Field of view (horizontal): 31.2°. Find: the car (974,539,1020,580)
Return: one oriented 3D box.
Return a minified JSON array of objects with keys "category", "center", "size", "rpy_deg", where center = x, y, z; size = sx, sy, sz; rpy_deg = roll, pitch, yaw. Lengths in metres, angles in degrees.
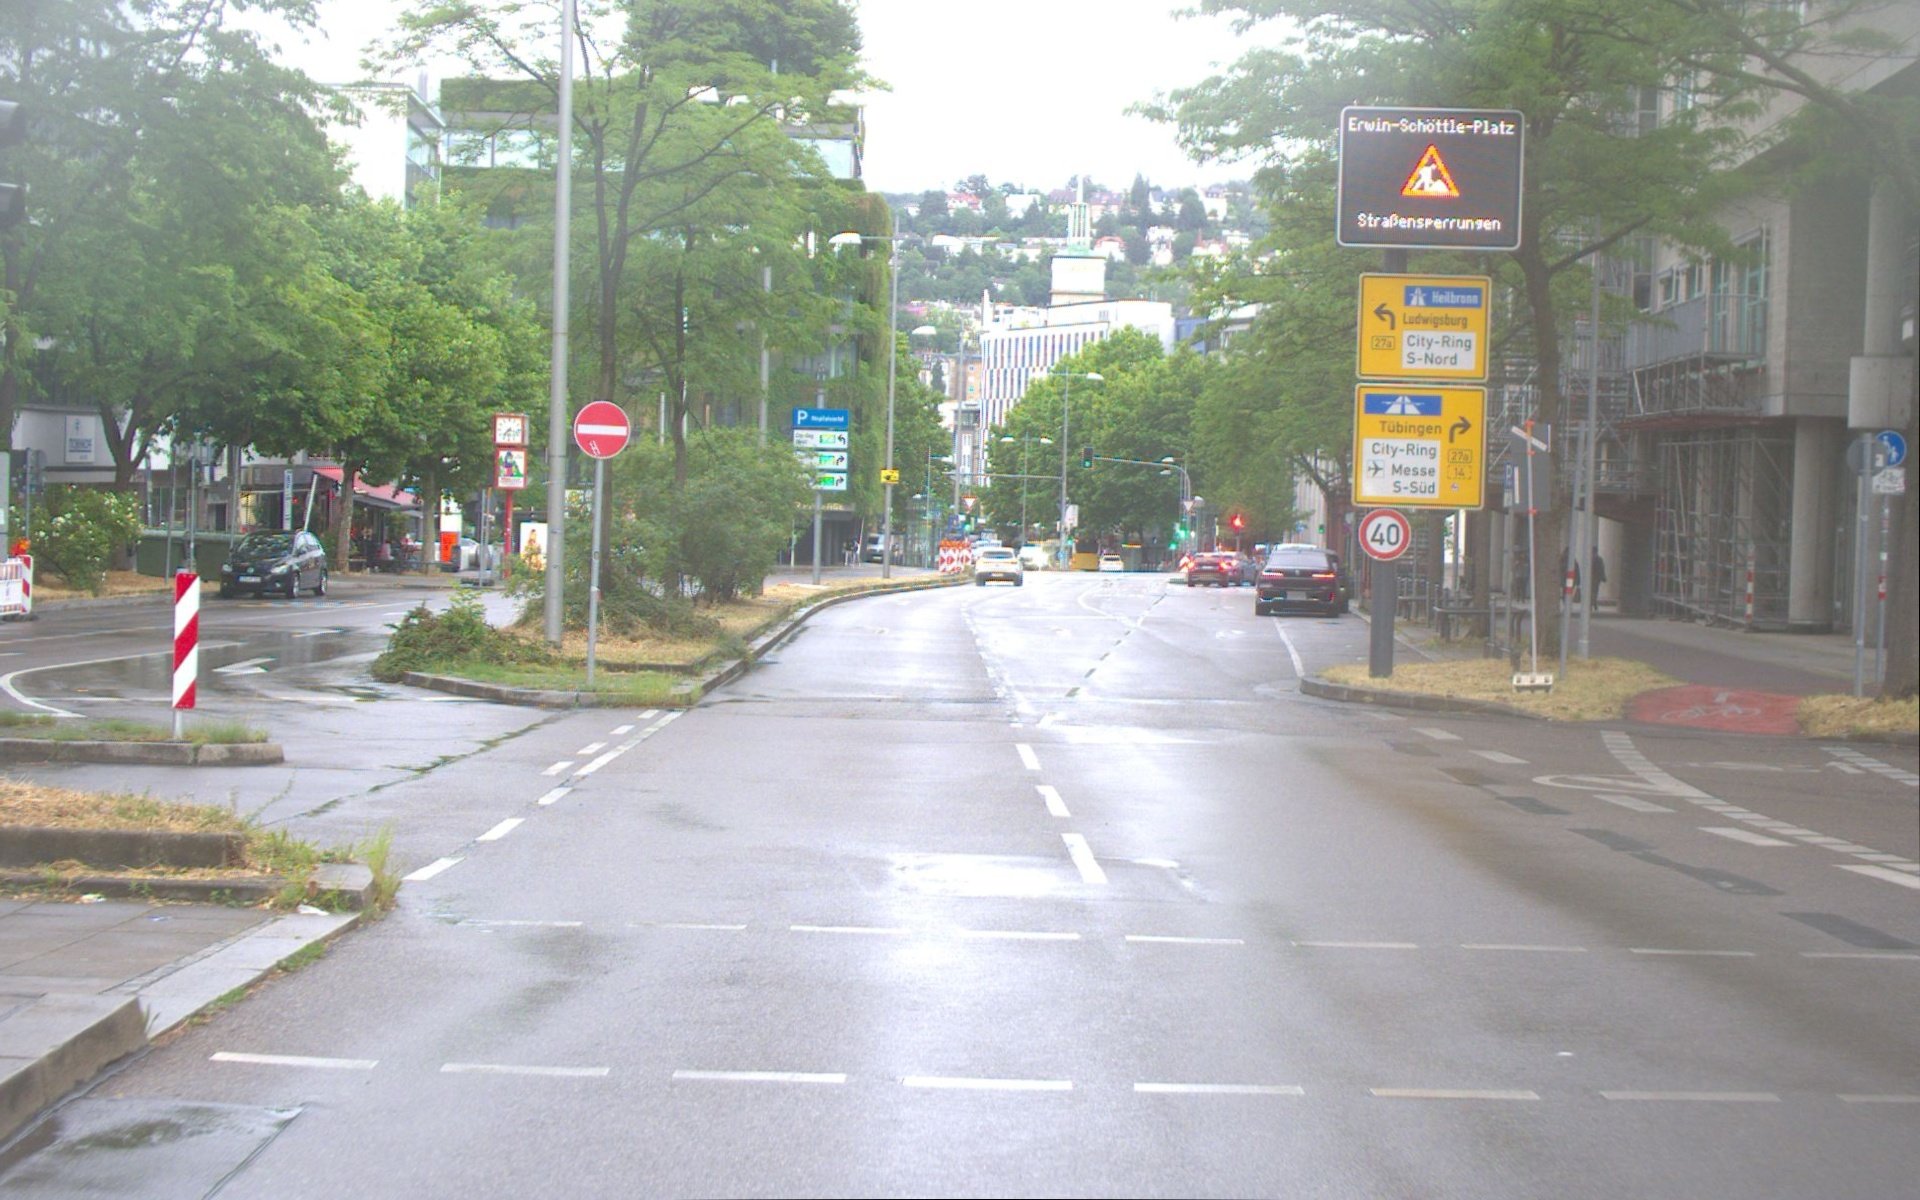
[{"category":"car","center":[1.575,-1.686,145.236],"size":[1.828,1.634,4.300],"rpy_deg":[2,0,1]}]

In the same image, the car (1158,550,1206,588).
[{"category":"car","center":[10.624,-1.491,164.542],"size":[1.993,1.730,4.000],"rpy_deg":[1,0,0]}]

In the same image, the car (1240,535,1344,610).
[{"category":"car","center":[7.860,-0.653,81.157],"size":[2.339,1.685,3.999],"rpy_deg":[1,1,7]}]

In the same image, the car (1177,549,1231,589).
[{"category":"car","center":[10.871,-1.359,153.458],"size":[1.993,1.718,4.000],"rpy_deg":[1,0,-1]}]

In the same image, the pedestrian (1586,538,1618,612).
[{"category":"pedestrian","center":[16.773,-0.648,89.791],"size":[0.775,1.914,0.702],"rpy_deg":[1,0,10]}]
